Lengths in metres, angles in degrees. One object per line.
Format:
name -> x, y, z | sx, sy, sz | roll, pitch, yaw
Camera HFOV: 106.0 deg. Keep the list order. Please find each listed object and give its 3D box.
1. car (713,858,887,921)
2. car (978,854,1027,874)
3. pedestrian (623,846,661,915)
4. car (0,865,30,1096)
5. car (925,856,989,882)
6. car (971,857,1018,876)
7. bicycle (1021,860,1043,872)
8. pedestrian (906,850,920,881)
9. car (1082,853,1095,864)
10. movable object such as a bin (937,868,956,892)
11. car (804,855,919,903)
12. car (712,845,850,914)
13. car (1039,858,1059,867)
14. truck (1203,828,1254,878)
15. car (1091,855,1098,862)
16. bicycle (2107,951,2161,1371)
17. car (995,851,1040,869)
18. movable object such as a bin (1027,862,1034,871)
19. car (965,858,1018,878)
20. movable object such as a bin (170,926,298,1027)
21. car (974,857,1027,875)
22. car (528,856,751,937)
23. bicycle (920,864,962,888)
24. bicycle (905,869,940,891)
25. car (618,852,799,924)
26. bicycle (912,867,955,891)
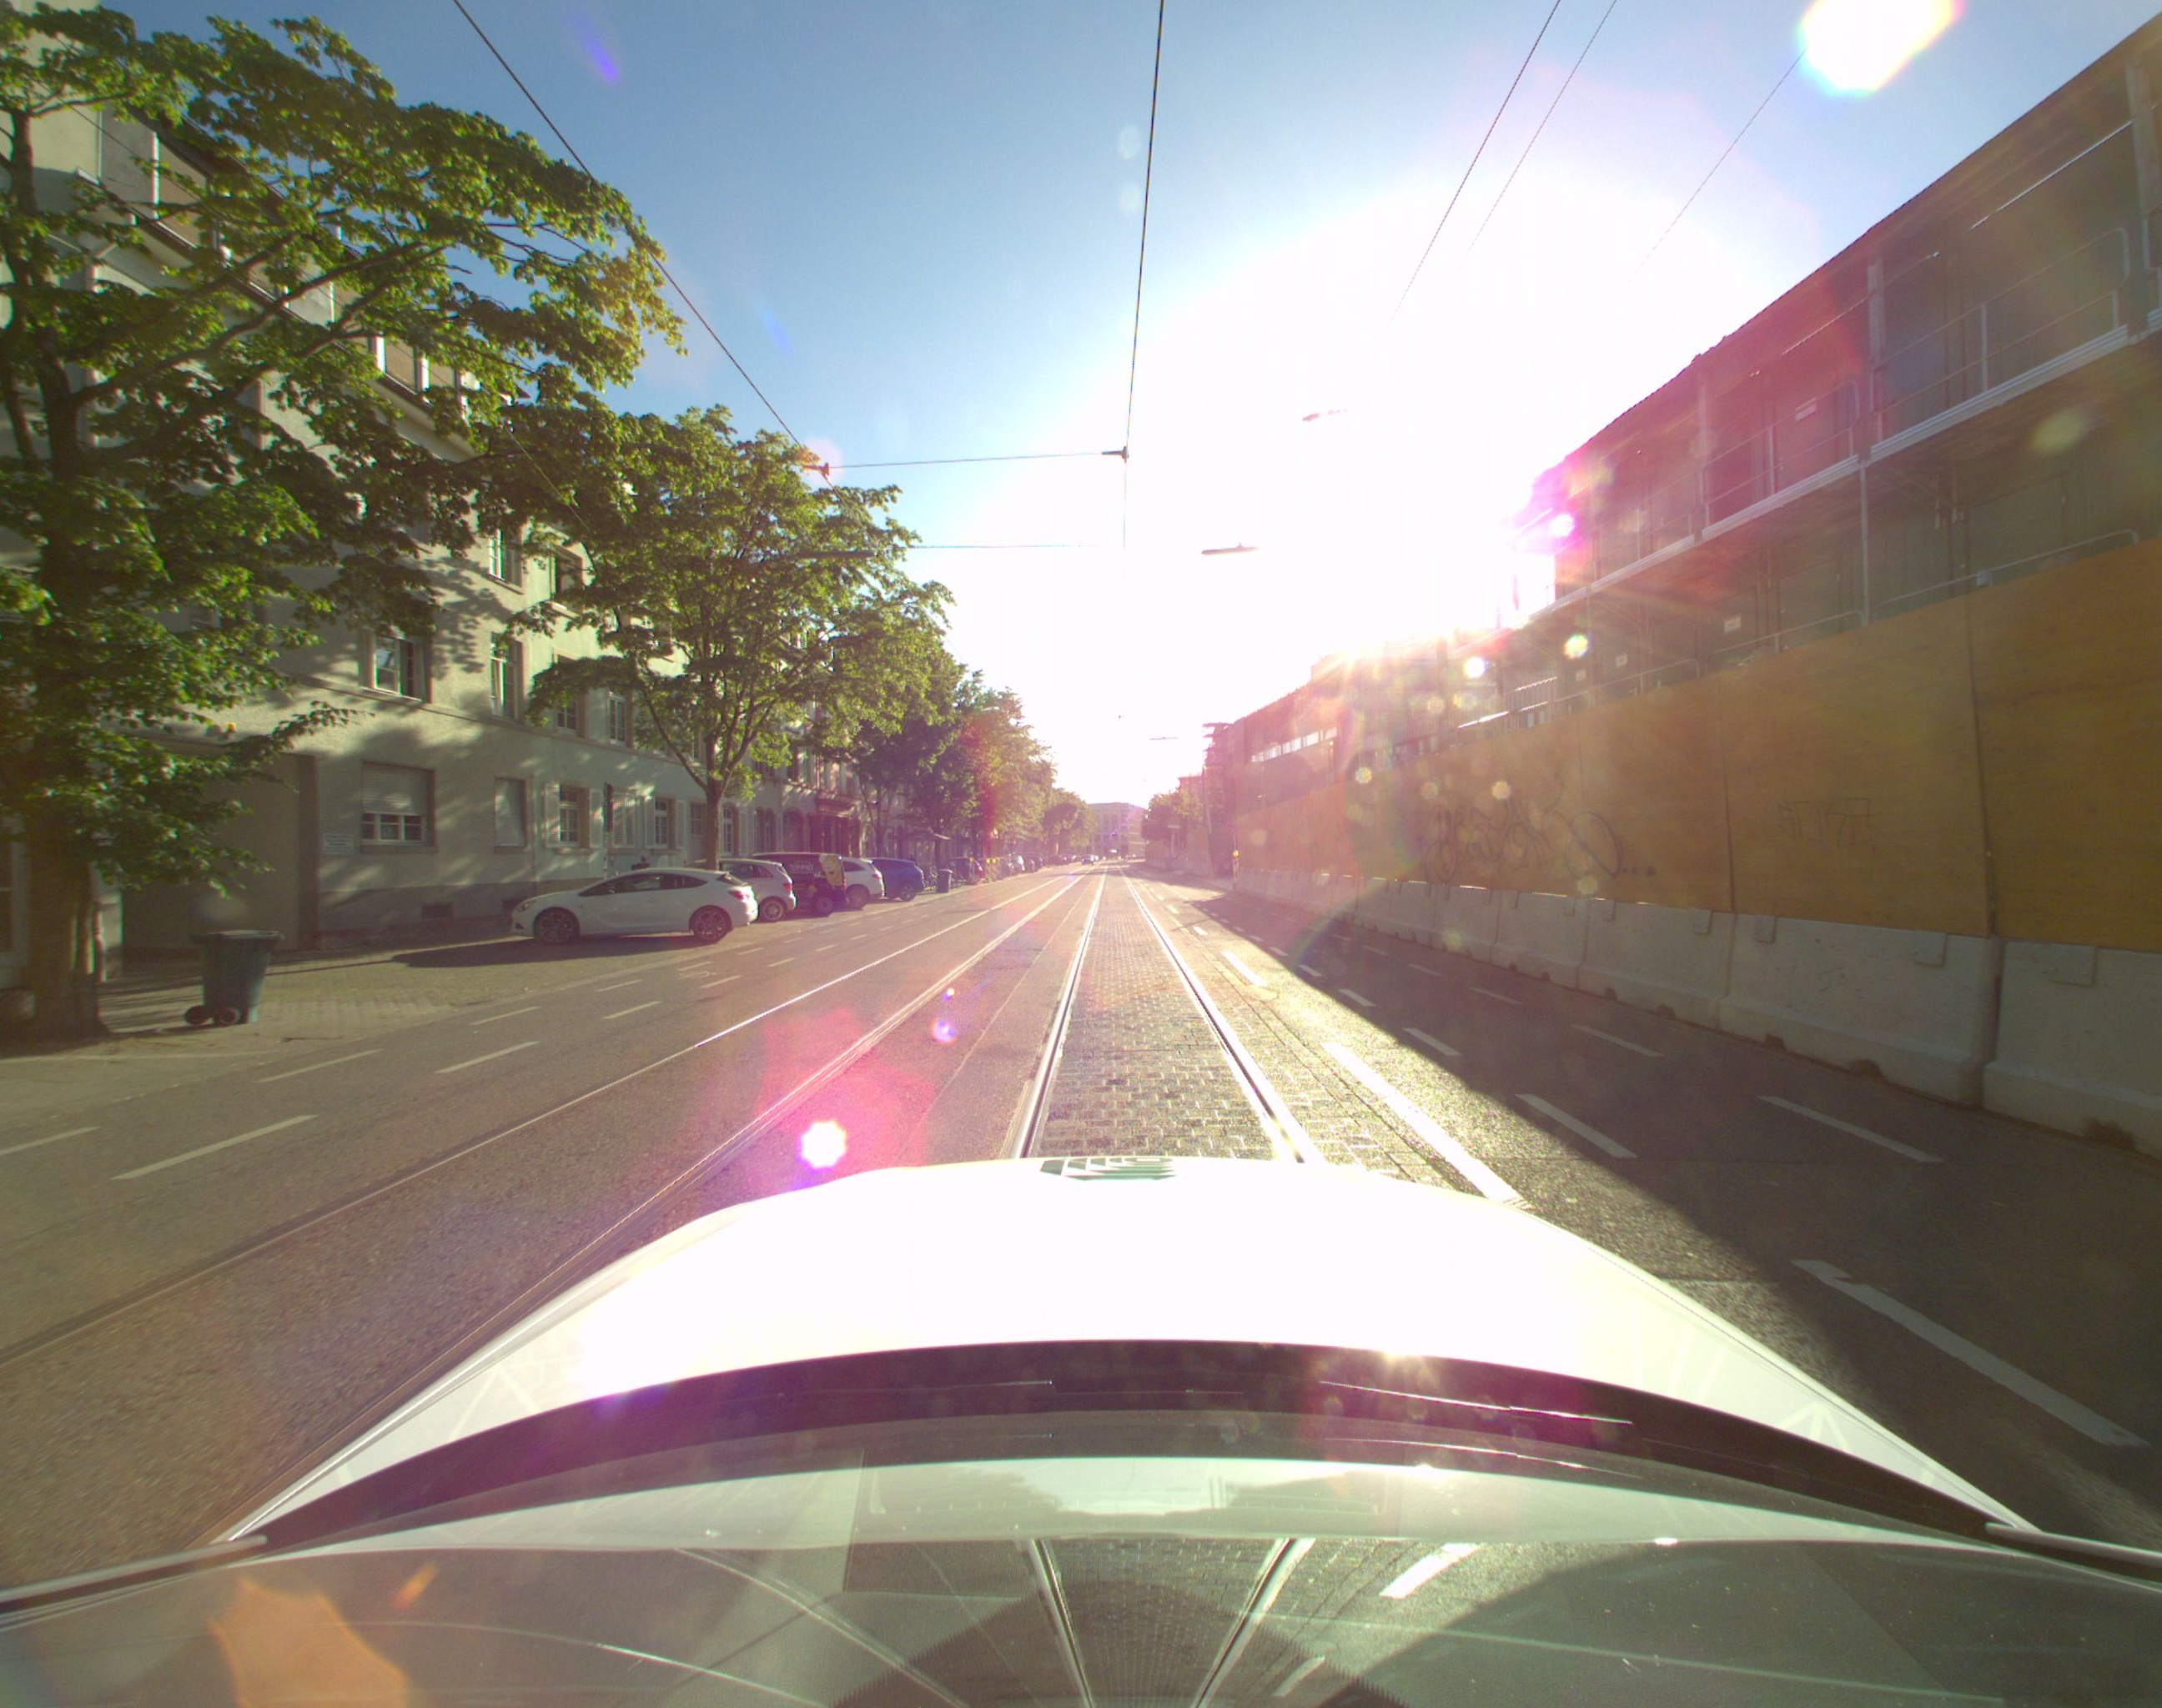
car -> -9.046, 1.068, 26.329 | 4.958, 1.794, 2.186 | -1, 0, -32
car -> -6.874, 0.896, 71.975 | 4.091, 1.678, 1.840 | 1, 0, -1
pedestrian -> -11.932, 0.713, 22.133 | 0.641, 1.838, 0.625 | -1, 0, 3
car -> -9.604, 0.927, 4.746 | 3.995, 1.676, 1.693 | 0, 0, -16
car -> -7.688, 0.923, 50.497 | 3.630, 1.553, 1.655 | 1, 1, -24
car -> -6.989, 1.029, 65.609 | 3.380, 1.493, 1.599 | 1, 0, -26
bicycle -> -4.731, 1.134, 78.535 | 1.969, 1.144, 0.490 | 1, -1, -17
pedestrian -> -10.952, 0.765, 53.121 | 0.728, 2.014, 0.557 | -1, 0, 3
car -> 1.254, 0.711, 130.645 | 1.921, 1.629, 4.250 | -4, 1, 1
movable object such as a bin -> -6.227, 1.211, 37.779 | 0.681, 1.078, 0.710 | 2, 0, 3
car -> -8.360, 0.918, 31.137 | 3.919, 1.609, 1.556 | -2, 0, -35
car -> -8.643, 0.778, 23.503 | 3.456, 1.843, 1.716 | 2, -3, -31
car -> -5.065, 1.316, 127.970 | 2.949, 1.332, 1.205 | -2, 0, -26
truck -> 9.614, -0.059, 53.569 | 2.509, 2.909, 5.512 | -4, 0, 3
car -> 3.135, 1.020, 189.734 | 1.703, 1.436, 4.171 | -1, 0, 1
bicycle -> 3.260, 0.865, 1.241 | 0.664, 1.154, 2.279 | 0, 0, 5
car -> -6.469, 0.639, 83.047 | 4.248, 1.685, 1.799 | -1, 0, -19
movable object such as a bin -> -4.801, 1.196, 77.706 | 0.576, 0.913, 0.573 | 1, 0, -14
car -> -6.926, 1.093, 62.746 | 3.692, 1.470, 1.738 | 1, -1, -27
movable object such as a bin -> -8.804, 1.257, 8.490 | 0.619, 0.945, 0.670 | -1, 0, 1
car -> -6.760, 1.010, 68.507 | 4.123, 1.512, 1.826 | 1, 0, -25
car -> -8.850, 0.861, 16.697 | 3.645, 1.530, 1.875 | 2, -1, -18
bicycle -> -7.118, 1.121, 41.423 | 1.994, 1.087, 0.568 | 3, 0, 4
bicycle -> -7.470, 1.221, 38.421 | 1.599, 0.988, 0.388 | 1, 0, -9
car -> -9.474, 0.840, 20.844 | 4.010, 1.656, 1.794 | 2, 0, -28
bicycle -> -7.255, 1.225, 40.125 | 1.959, 1.079, 0.569 | 2, 0, 4
